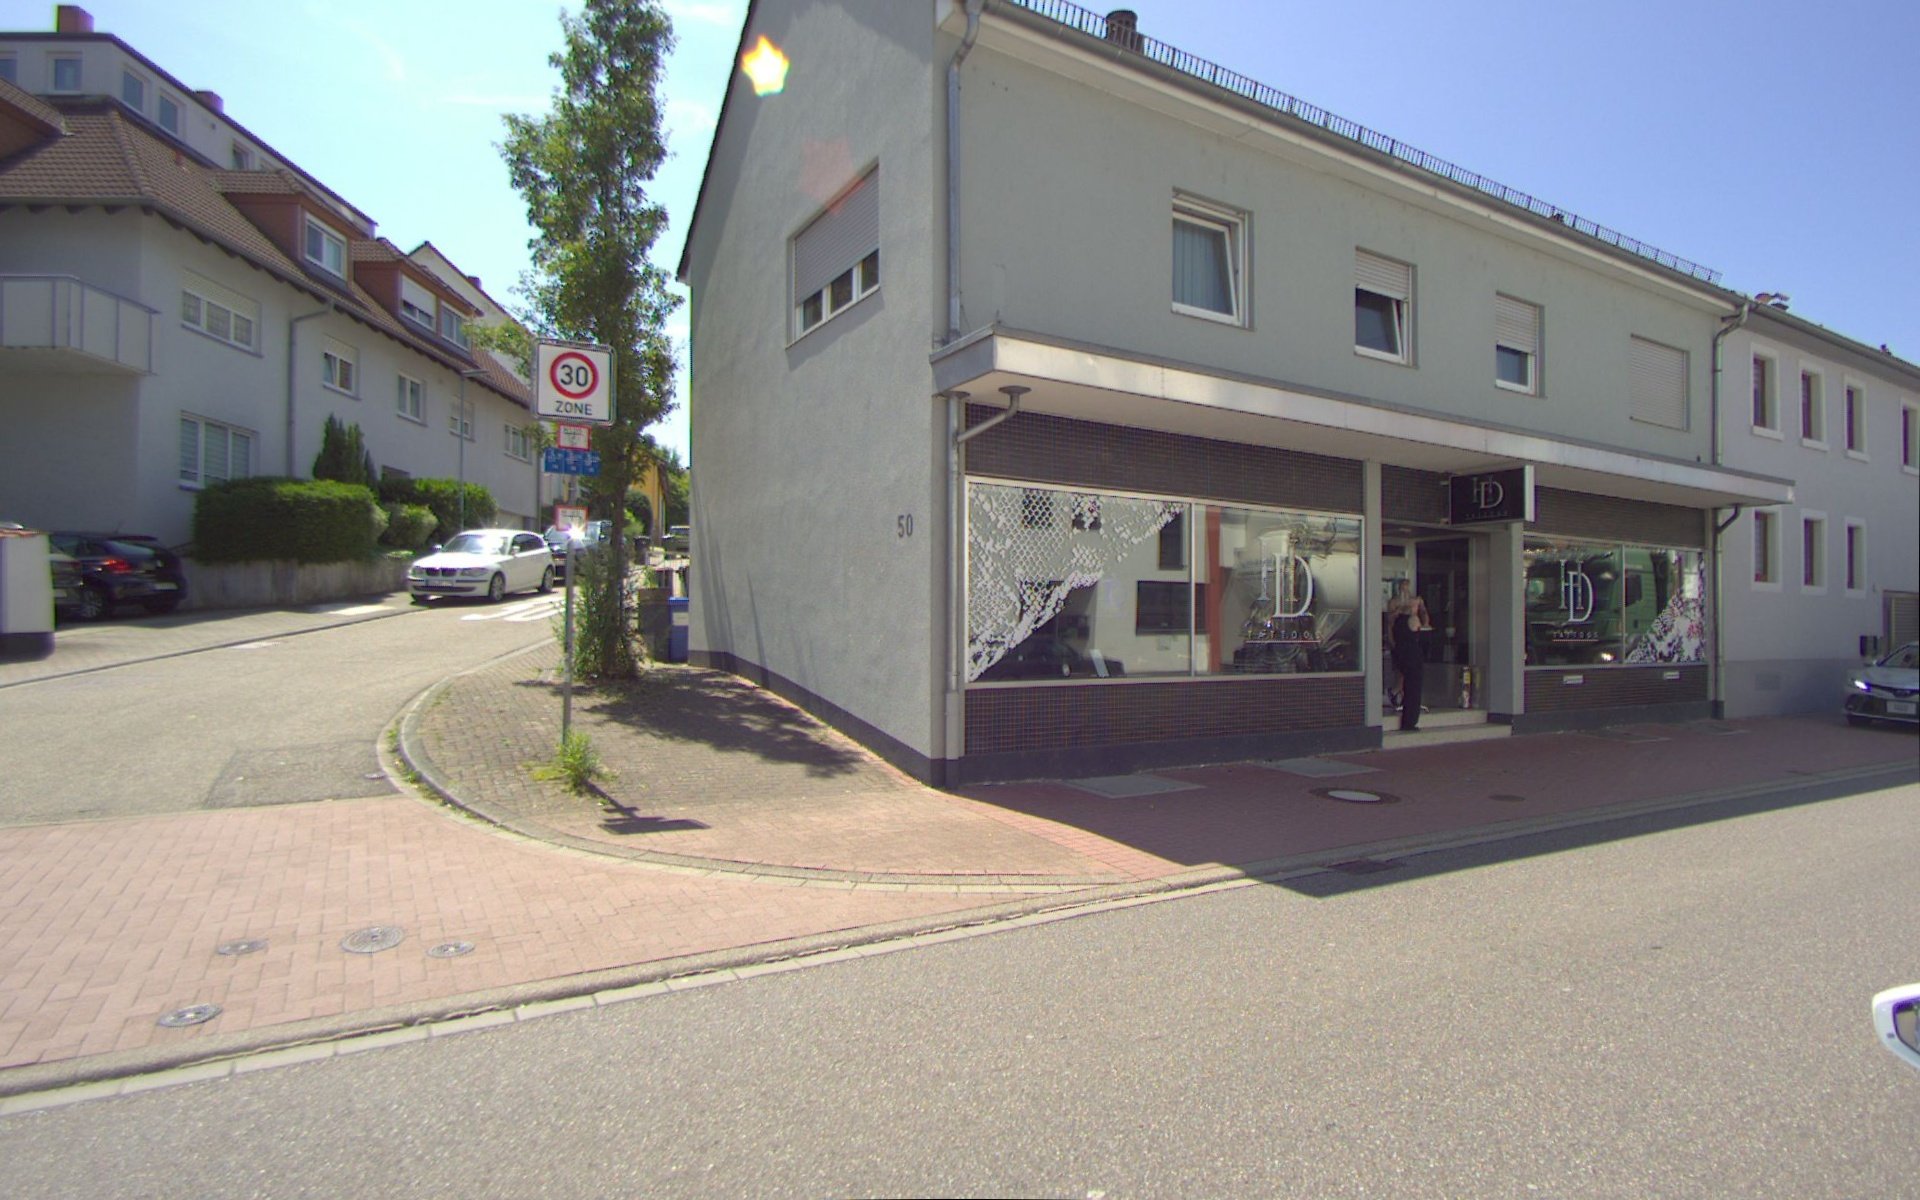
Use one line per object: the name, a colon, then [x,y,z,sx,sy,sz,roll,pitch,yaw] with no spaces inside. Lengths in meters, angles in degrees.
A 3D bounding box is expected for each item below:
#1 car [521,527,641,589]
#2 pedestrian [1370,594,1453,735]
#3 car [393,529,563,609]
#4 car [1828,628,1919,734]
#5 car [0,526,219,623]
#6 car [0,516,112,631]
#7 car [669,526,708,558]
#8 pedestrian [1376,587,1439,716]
car: [-10.168,-1.210,27.281,1.809,1.426,3.920,2,5,-1]
pedestrian: [5.665,0.789,12.605,0.762,1.707,0.621,1,-1,-32]
car: [-10.217,-0.737,21.655,1.809,1.426,3.920,2,5,-1]
car: [16.526,1.317,16.732,4.512,1.578,1.799,2,0,-31]
car: [-15.038,-0.463,17.016,3.695,1.486,1.788,2,2,3]
car: [-14.735,-0.440,14.405,3.695,1.557,1.788,2,2,3]
car: [-13.455,-2.851,49.793,1.815,1.484,3.909,0,3,-15]
pedestrian: [6.239,0.699,14.025,0.618,1.736,0.666,2,0,10]
